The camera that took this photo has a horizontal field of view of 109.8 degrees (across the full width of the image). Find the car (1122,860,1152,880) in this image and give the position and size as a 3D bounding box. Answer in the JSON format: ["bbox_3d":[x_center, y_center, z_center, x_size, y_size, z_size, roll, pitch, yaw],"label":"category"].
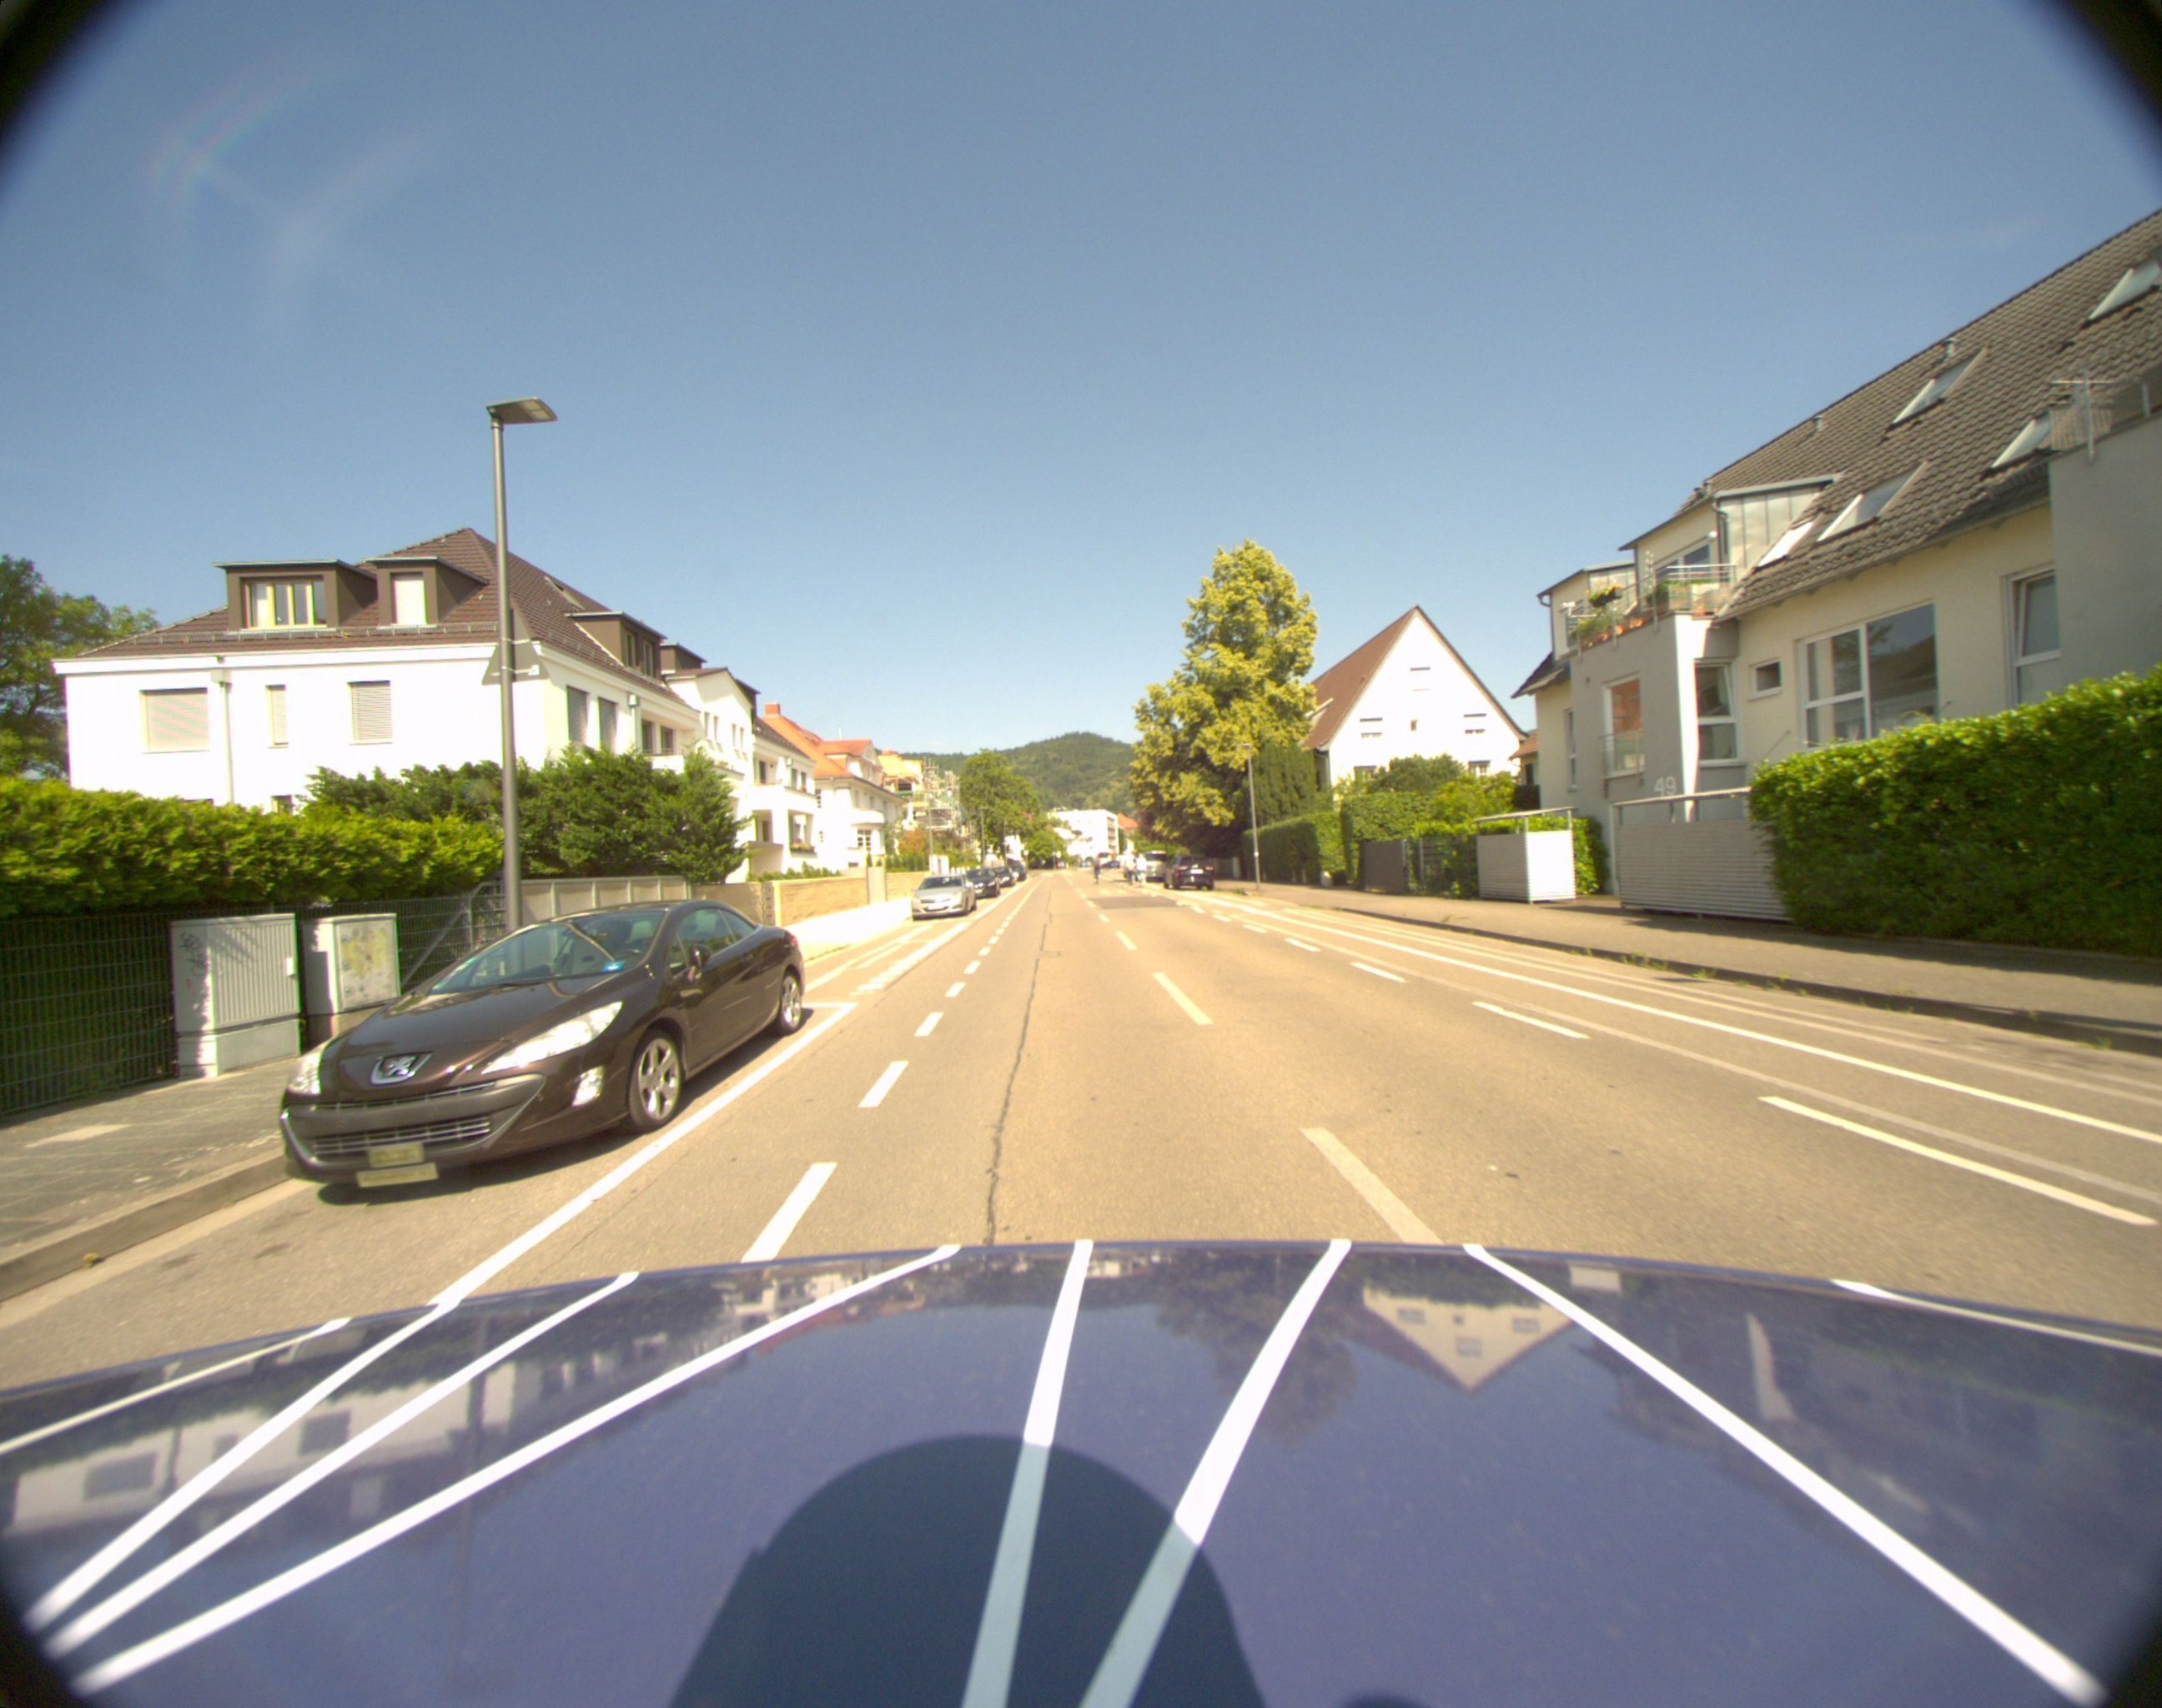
[{"bbox_3d":[4.335,1.233,59.021,1.838,1.476,4.561,-1,-1,-2],"label":"car"}]

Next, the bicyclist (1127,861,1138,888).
[{"bbox_3d":[2.907,1.156,43.141,0.492,1.445,0.964,-1,1,-2],"label":"bicyclist"}]

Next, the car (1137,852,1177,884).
[{"bbox_3d":[4.817,0.917,48.885,1.890,1.908,4.868,-1,-1,-2],"label":"car"}]

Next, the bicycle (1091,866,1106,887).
[{"bbox_3d":[1.056,1.370,46.815,0.784,1.159,2.419,-1,0,-2],"label":"bicycle"}]

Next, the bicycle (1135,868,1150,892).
[{"bbox_3d":[3.123,1.306,38.910,0.560,1.178,2.035,0,0,-2],"label":"bicycle"}]

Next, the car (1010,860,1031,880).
[{"bbox_3d":[-5.294,1.364,66.694,1.701,1.573,4.899,-4,0,-5],"label":"car"}]

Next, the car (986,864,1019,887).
[{"bbox_3d":[-5.379,1.434,52.758,1.623,1.440,4.001,-3,0,3],"label":"car"}]

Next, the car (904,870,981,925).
[{"bbox_3d":[-4.427,1.343,24.864,1.741,1.321,4.075,-6,1,-2],"label":"car"}]

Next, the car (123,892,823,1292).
[{"bbox_3d":[-3.576,1.223,5.741,1.741,1.460,4.344,-6,0,-2],"label":"car"}]

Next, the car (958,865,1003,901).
[{"bbox_3d":[-4.802,1.343,36.617,1.727,1.440,4.167,-6,0,-4],"label":"car"}]

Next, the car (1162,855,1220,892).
[{"bbox_3d":[5.072,0.863,35.604,1.856,1.601,4.447,-1,0,-3],"label":"car"}]

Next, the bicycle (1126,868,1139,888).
[{"bbox_3d":[2.900,1.361,43.132,0.602,1.098,1.346,-1,0,-2],"label":"bicycle"}]

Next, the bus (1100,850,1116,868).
[{"bbox_3d":[4.930,0.980,139.319,2.752,3.155,9.780,-1,0,2],"label":"bus"}]

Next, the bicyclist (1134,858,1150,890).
[{"bbox_3d":[3.080,1.001,38.551,0.677,1.571,0.859,1,0,-2],"label":"bicyclist"}]

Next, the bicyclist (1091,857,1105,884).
[{"bbox_3d":[1.046,1.012,46.807,0.751,1.658,1.021,-1,1,-2],"label":"bicyclist"}]
